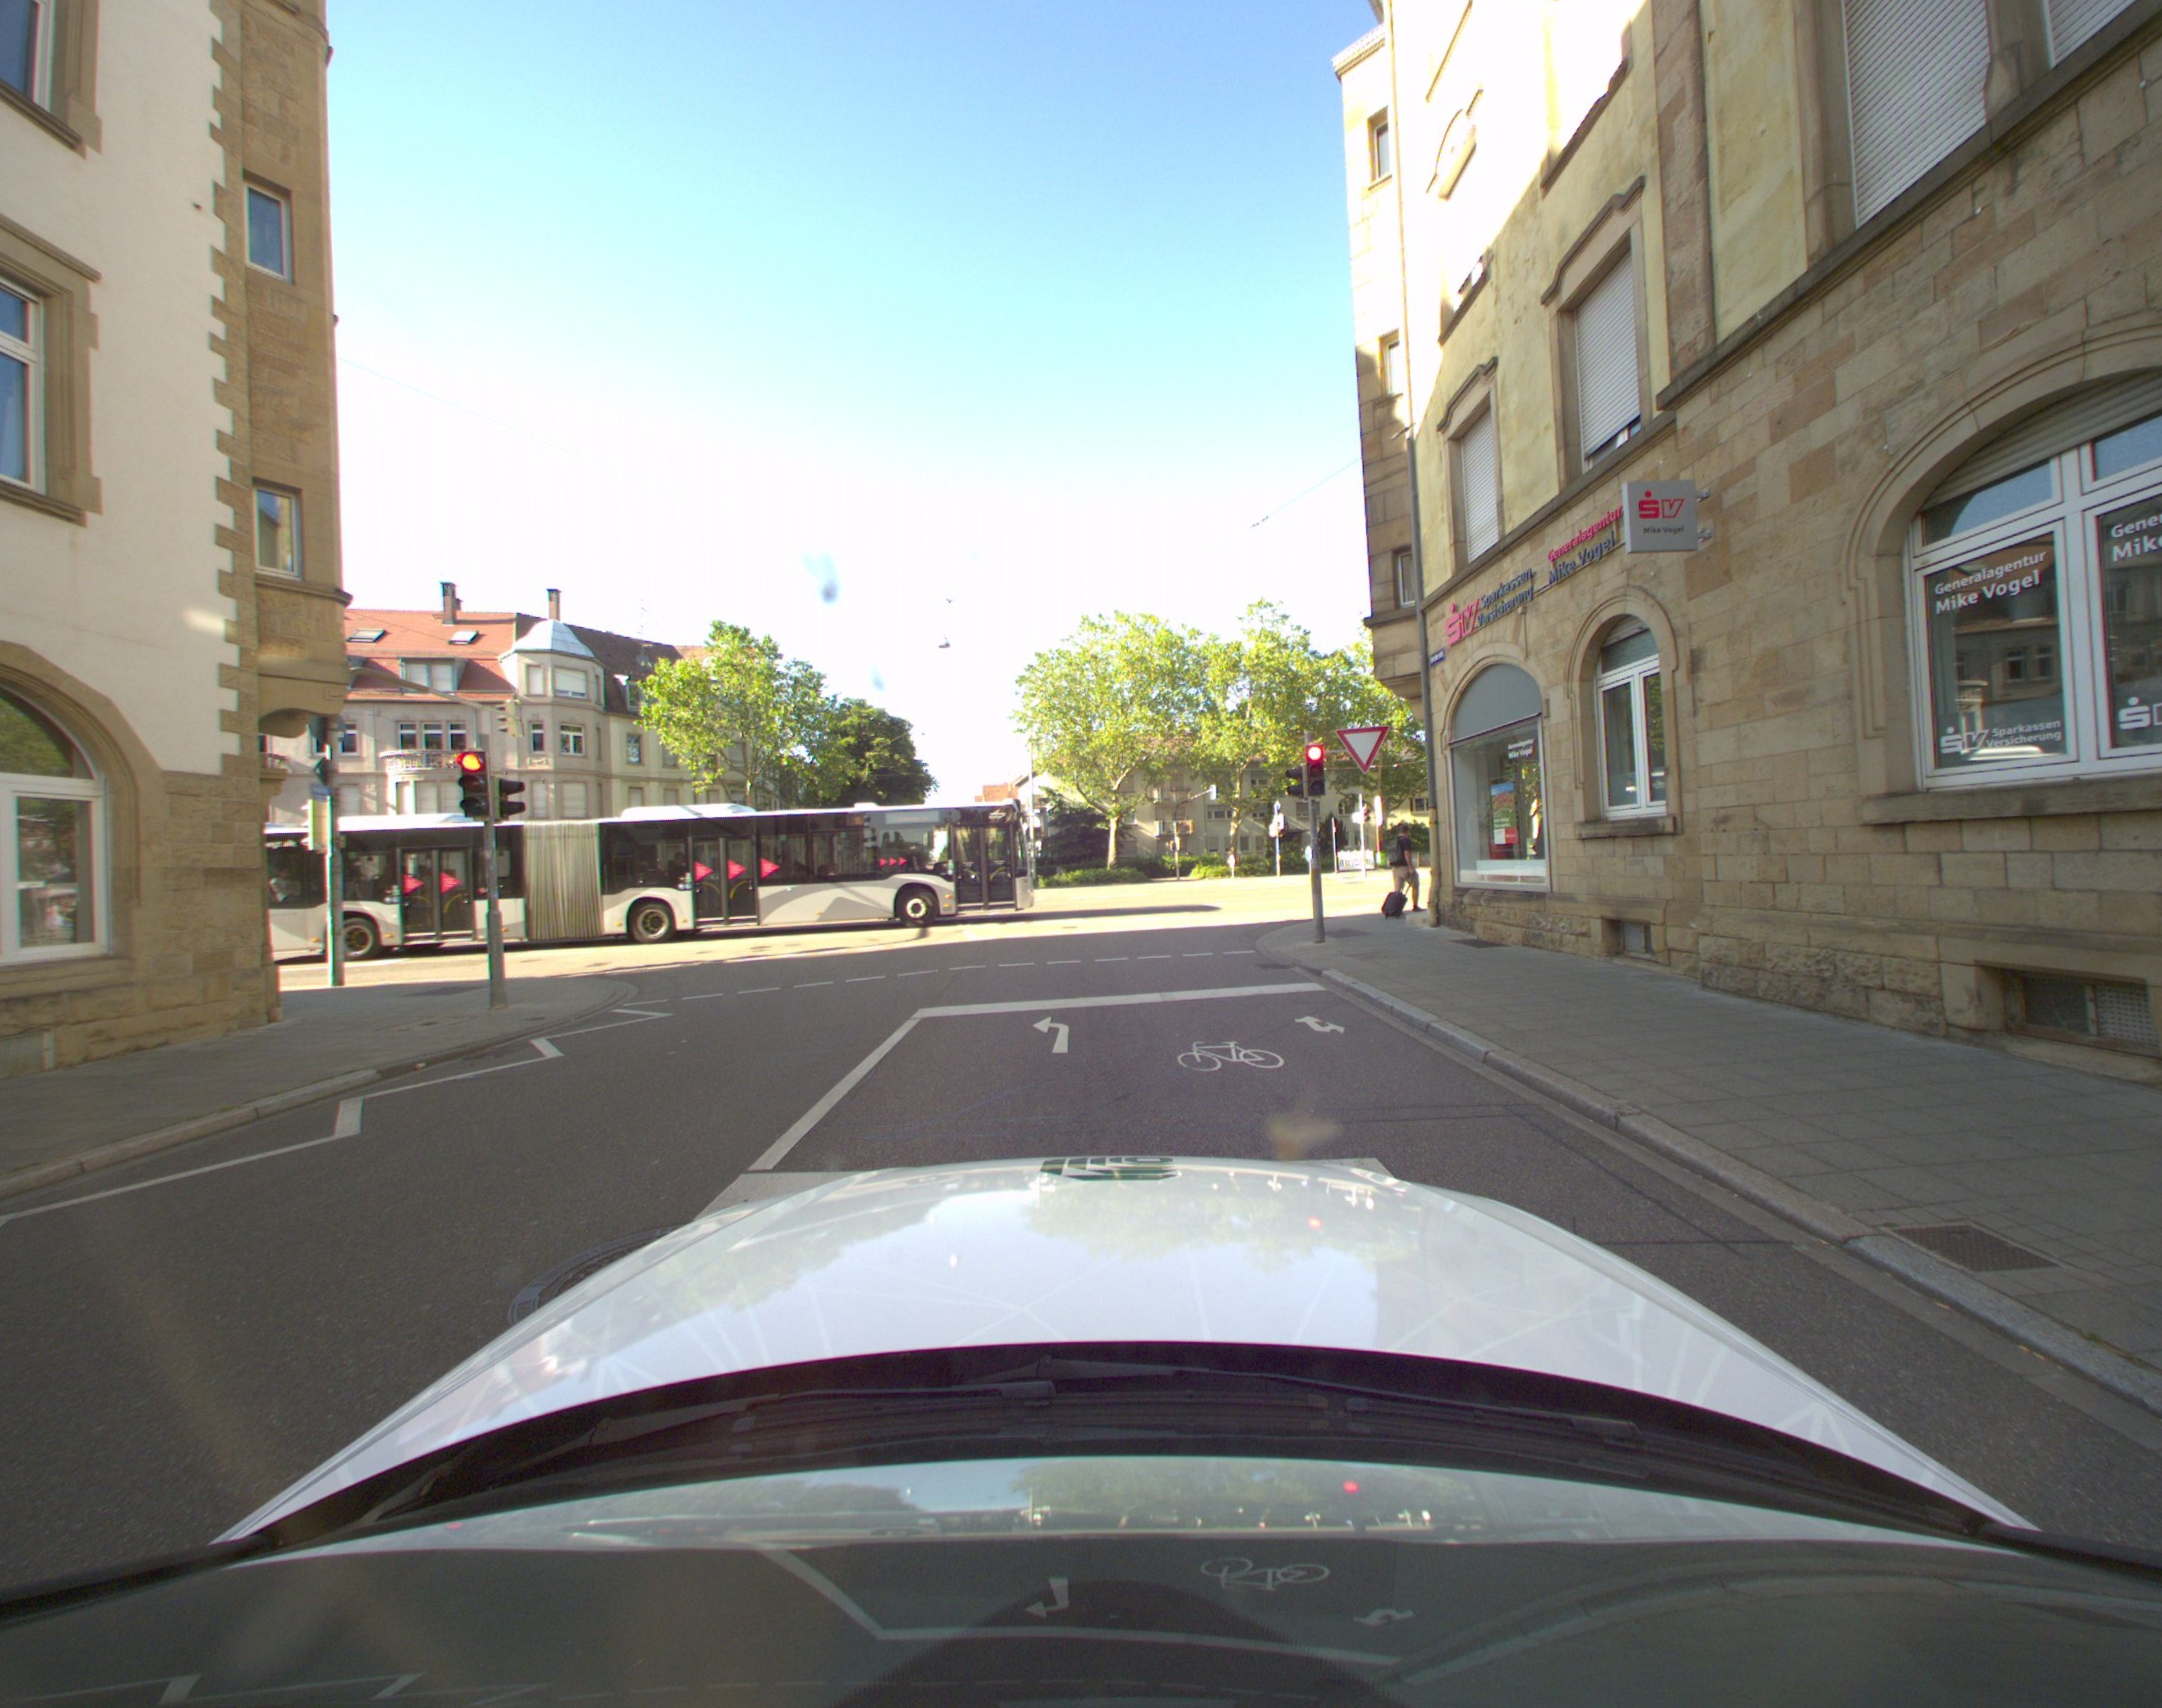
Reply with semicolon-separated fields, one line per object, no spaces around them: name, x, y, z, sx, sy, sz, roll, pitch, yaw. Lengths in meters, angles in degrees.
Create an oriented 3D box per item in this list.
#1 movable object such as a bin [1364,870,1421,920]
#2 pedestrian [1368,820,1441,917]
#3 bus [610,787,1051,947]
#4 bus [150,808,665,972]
movable object such as a bin;6.008;0.784;15.720;0.862;0.892;0.507;-3;0;-11
pedestrian;6.412;0.280;16.185;1.066;1.848;0.746;-2;-1;-11
bus;-5.689;0.257;19.887;9.610;3.096;2.739;-3;0;-7
bus;-14.772;0.705;18.643;8.819;3.096;2.738;-2;0;-9
